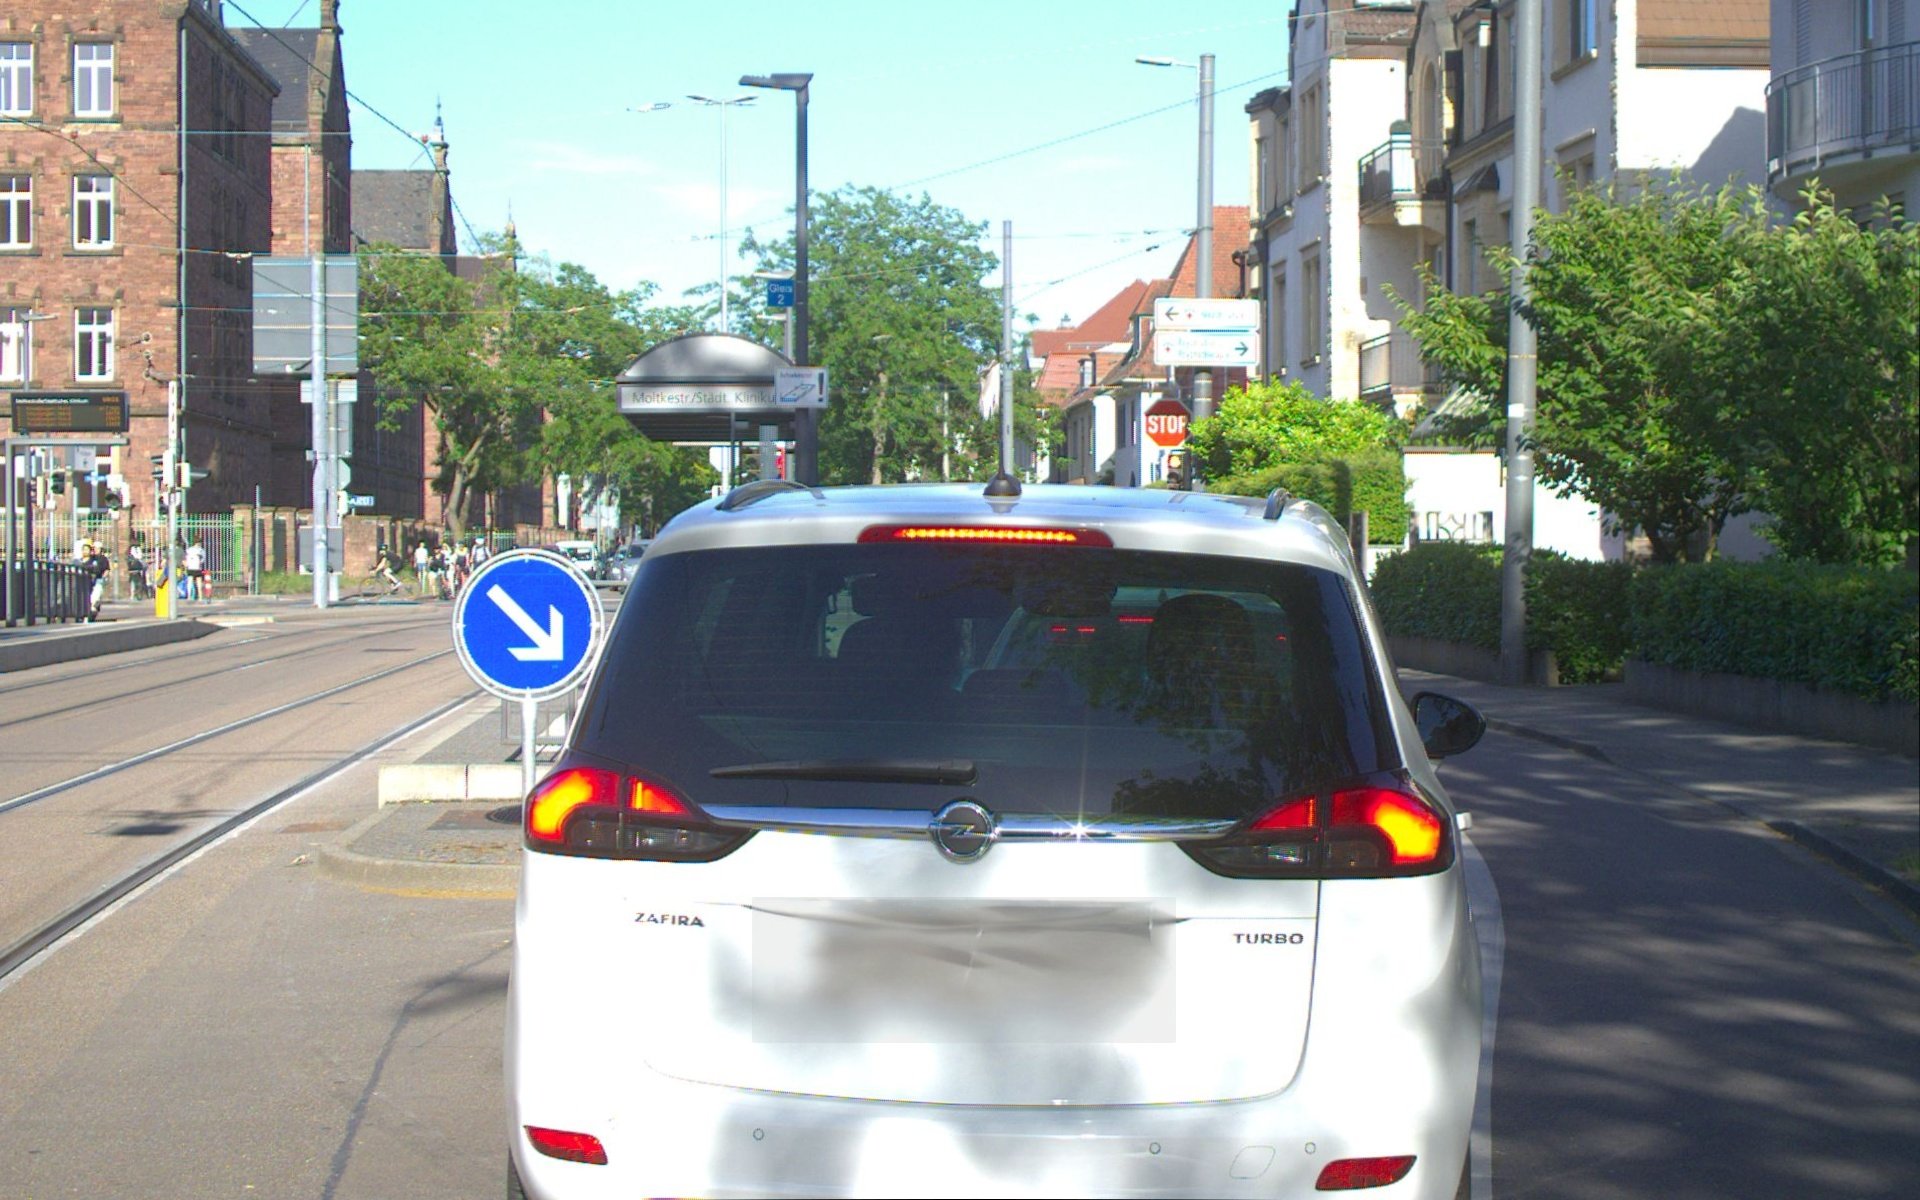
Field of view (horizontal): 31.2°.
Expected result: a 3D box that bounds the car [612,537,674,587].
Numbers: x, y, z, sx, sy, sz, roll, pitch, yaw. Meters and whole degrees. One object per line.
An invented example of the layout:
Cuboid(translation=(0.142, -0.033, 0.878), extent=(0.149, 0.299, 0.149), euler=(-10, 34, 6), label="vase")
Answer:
Cuboid(translation=(-10.539, -1.272, 114.419), extent=(1.993, 1.623, 4.001), euler=(0, 1, -5), label="car")

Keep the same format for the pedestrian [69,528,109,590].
Cuboid(translation=(-22.539, -1.056, 88.947), extent=(0.802, 1.583, 0.935), euler=(1, 0, -3), label="pedestrian")

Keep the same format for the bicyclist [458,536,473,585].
Cuboid(translation=(-15.694, -1.246, 109.153), extent=(0.444, 1.548, 0.496), euler=(0, 1, -4), label="bicyclist")

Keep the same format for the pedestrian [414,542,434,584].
Cuboid(translation=(-21.591, -1.489, 138.547), extent=(0.734, 1.708, 0.754), euler=(1, 0, -6), label="pedestrian")

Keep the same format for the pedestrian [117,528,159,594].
Cuboid(translation=(-21.167, -1.004, 88.551), extent=(0.843, 1.686, 1.029), euler=(1, 0, -1), label="pedestrian")

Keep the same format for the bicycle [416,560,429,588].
Cuboid(translation=(-17.992, -0.873, 115.142), extent=(0.344, 0.946, 0.997), euler=(1, 0, -4), label="bicycle")

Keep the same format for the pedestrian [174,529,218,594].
Cuboid(translation=(-19.773, -0.996, 88.964), extent=(0.895, 1.678, 1.029), euler=(1, 0, -1), label="pedestrian")

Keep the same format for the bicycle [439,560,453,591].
Cuboid(translation=(-15.934, -0.759, 106.618), extent=(0.344, 0.946, 0.997), euler=(1, 0, -4), label="bicycle")

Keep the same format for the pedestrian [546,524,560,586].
Cuboid(translation=(-13.296, -1.473, 112.257), extent=(0.444, 2.007, 0.496), euler=(0, 1, -4), label="pedestrian")

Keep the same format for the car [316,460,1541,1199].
Cuboid(translation=(0.131, 0.582, 7.605), extent=(1.994, 1.639, 3.992), euler=(1, 1, 6), label="car")

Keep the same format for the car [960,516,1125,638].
Cuboid(translation=(1.014, -0.318, 44.302), extent=(1.993, 1.497, 4.000), euler=(0, 1, -1), label="car")

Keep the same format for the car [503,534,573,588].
Cuboid(translation=(-13.122, -1.227, 107.090), extent=(1.993, 1.623, 4.001), euler=(0, 1, -5), label="car")

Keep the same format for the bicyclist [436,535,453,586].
Cuboid(translation=(-15.480, -1.186, 103.286), extent=(0.444, 1.548, 0.743), euler=(0, 1, -4), label="bicyclist")

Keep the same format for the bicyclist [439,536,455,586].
Cuboid(translation=(-15.898, -1.223, 106.568), extent=(0.444, 1.548, 0.496), euler=(0, 1, -4), label="bicyclist")

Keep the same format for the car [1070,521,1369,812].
Cuboid(translation=(1.487, 0.331, 20.830), extent=(1.637, 1.595, 3.854), euler=(0, 1, 2), label="car")

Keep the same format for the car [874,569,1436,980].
Cuboid(translation=(0.739, 0.589, 13.985), extent=(1.953, 1.392, 4.000), euler=(0, 1, 2), label="car")

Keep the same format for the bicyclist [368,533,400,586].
Cuboid(translation=(-15.742, -1.098, 93.953), extent=(0.758, 1.425, 0.516), euler=(1, 0, -1), label="bicyclist")

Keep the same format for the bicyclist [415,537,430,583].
Cuboid(translation=(-17.987, -1.339, 115.098), extent=(0.444, 1.548, 0.496), euler=(0, 1, -4), label="bicyclist")

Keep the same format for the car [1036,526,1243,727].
Cuboid(translation=(1.488, 0.179, 29.258), extent=(1.637, 1.595, 3.854), euler=(0, 1, 2), label="car")

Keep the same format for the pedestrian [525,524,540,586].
Cuboid(translation=(-13.912, -1.479, 111.934), extent=(0.444, 2.007, 0.496), euler=(0, 1, -4), label="pedestrian")

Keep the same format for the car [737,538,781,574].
Cuboid(translation=(-9.206, -2.007, 157.538), extent=(1.993, 1.623, 4.001), euler=(0, 1, -4), label="car")

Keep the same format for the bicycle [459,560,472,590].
Cuboid(translation=(-15.703, -0.781, 109.167), extent=(0.344, 0.946, 0.997), euler=(1, 0, -4), label="bicycle")

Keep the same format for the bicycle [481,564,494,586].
Cuboid(translation=(-15.356, -0.818, 111.670), extent=(0.344, 0.722, 0.997), euler=(1, 1, -4), label="bicycle")

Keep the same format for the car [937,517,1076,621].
Cuboid(translation=(0.661, -0.487, 51.762), extent=(1.993, 1.497, 4.000), euler=(0, 1, -1), label="car")

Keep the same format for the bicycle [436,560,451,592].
Cuboid(translation=(-15.488, -0.717, 103.085), extent=(0.344, 0.946, 1.160), euler=(1, 0, -4), label="bicycle")

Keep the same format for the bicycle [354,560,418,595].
Cuboid(translation=(-15.688, -0.627, 93.960), extent=(1.670, 0.949, 0.529), euler=(0, 1, -1), label="bicycle")

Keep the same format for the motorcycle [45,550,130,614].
Cuboid(translation=(-16.765, -0.355, 66.135), extent=(0.612, 1.194, 2.074), euler=(0, 1, 16), label="motorcycle")

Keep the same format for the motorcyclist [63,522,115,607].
Cuboid(translation=(-16.758, -0.687, 66.152), extent=(0.614, 1.616, 0.844), euler=(0, 1, 16), label="motorcyclist")

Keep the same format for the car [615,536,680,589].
Cuboid(translation=(-9.742, -1.190, 107.313), extent=(1.993, 1.623, 4.001), euler=(0, 1, -5), label="car")

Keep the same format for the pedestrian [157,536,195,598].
Cuboid(translation=(-21.825, -0.924, 95.668), extent=(0.735, 1.708, 0.705), euler=(1, 0, 22), label="pedestrian")

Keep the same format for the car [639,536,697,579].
Cuboid(translation=(-11.086, -1.616, 130.656), extent=(1.993, 1.623, 4.001), euler=(0, 1, -2), label="car")

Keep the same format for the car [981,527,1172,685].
Cuboid(translation=(1.170, 0.025, 36.182), extent=(1.830, 1.574, 4.010), euler=(0, 1, -1), label="car")

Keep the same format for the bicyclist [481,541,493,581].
Cuboid(translation=(-15.355, -1.281, 111.660), extent=(0.359, 1.299, 0.398), euler=(0, 1, -4), label="bicyclist")
